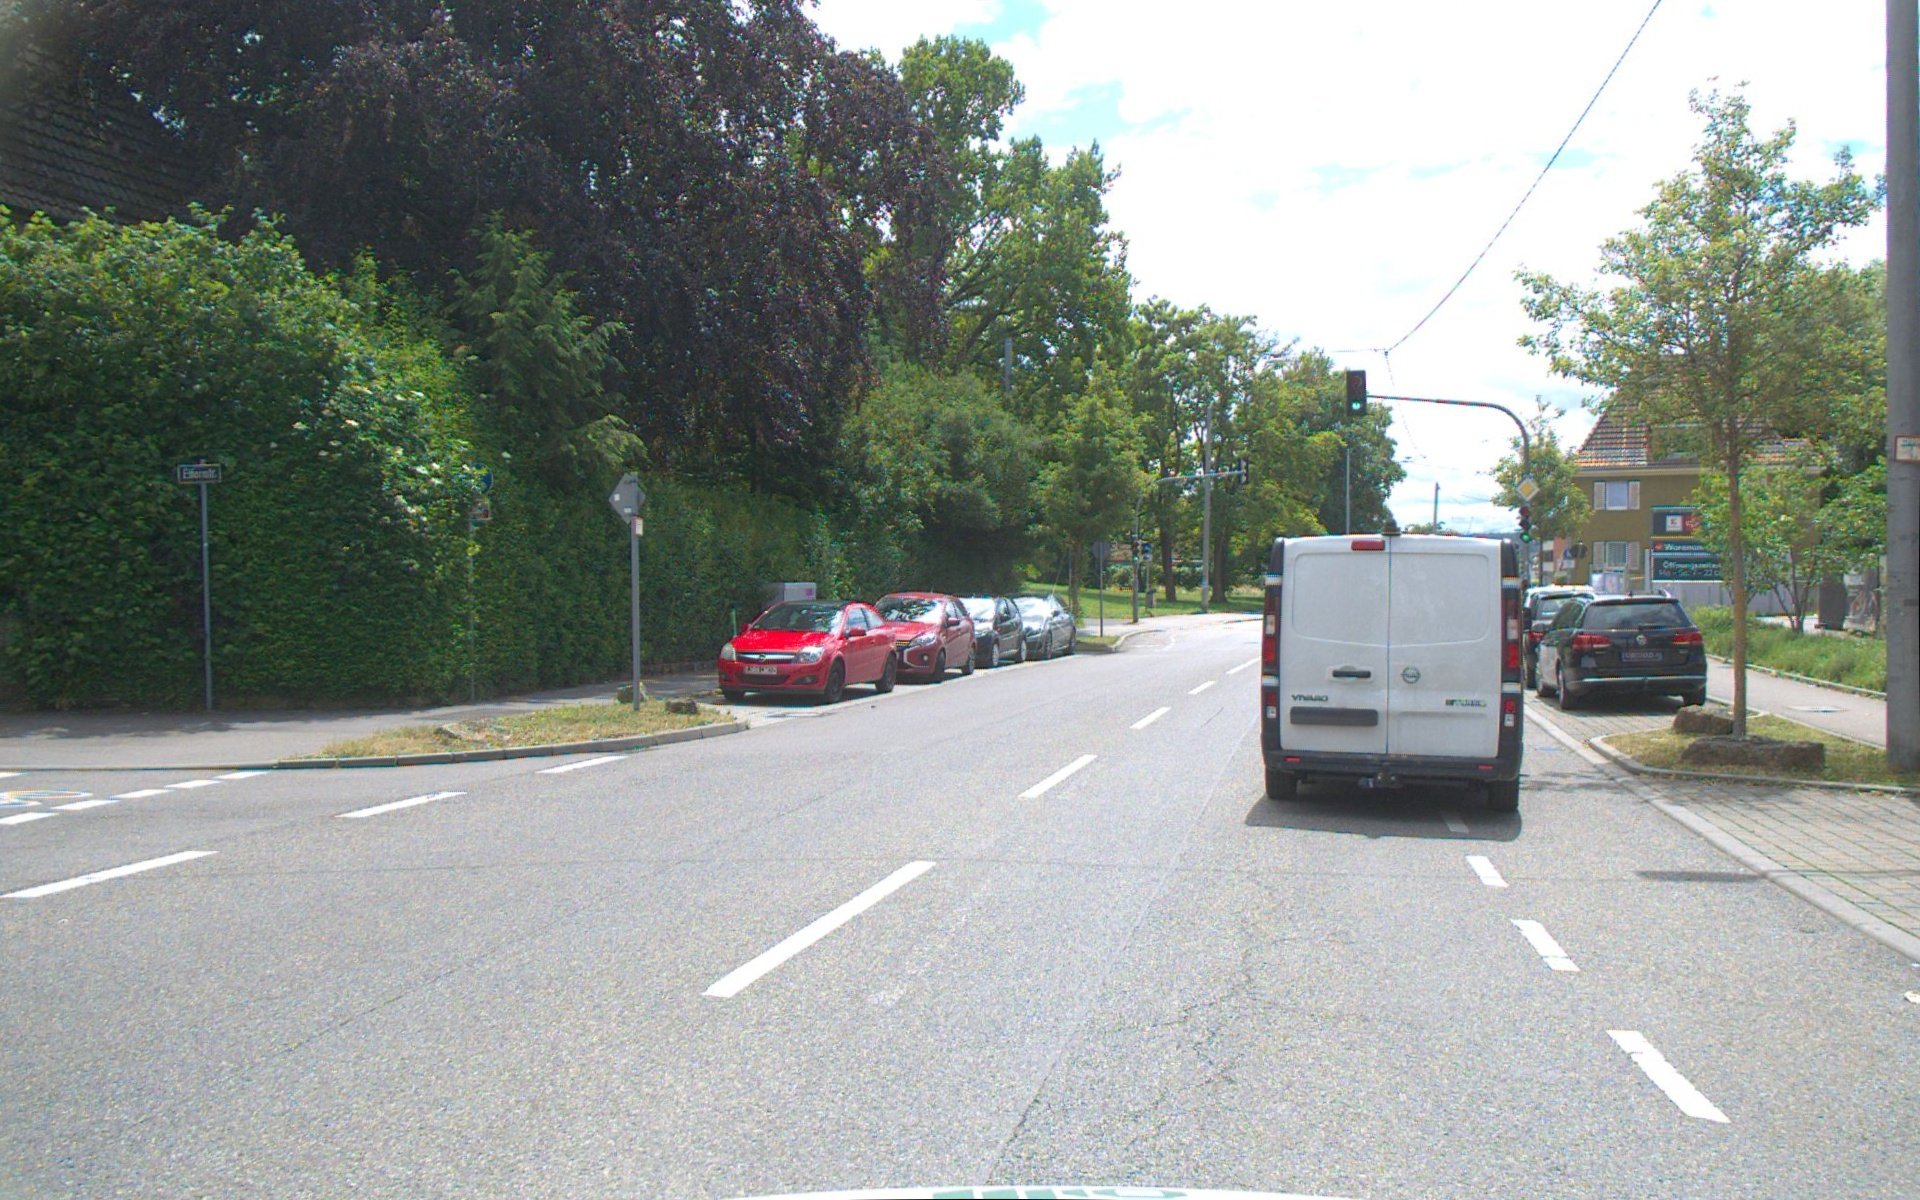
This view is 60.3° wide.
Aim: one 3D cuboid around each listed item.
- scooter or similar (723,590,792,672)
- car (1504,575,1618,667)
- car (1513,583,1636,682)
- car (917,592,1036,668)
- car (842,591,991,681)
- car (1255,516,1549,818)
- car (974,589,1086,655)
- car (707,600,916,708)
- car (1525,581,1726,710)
[{"bbox_3d":[-3.690,0.549,30.251,0.656,1.437,1.650,1,1,16],"label":"scooter or similar"},{"bbox_3d":[11.883,0.392,32.931,1.700,1.644,4.390,-3,-1,15],"label":"car"},{"bbox_3d":[10.157,0.500,27.569,1.535,1.519,4.003,-1,0,15],"label":"car"},{"bbox_3d":[0.404,0.575,34.575,1.561,1.476,3.598,1,0,16],"label":"car"},{"bbox_3d":[-0.708,0.593,29.826,1.614,1.476,4.108,1,0,14],"label":"car"},{"bbox_3d":[3.658,0.440,13.513,1.898,1.995,4.836,-1,0,17],"label":"car"},{"bbox_3d":[1.705,0.471,38.687,1.659,1.389,4.690,1,1,14],"label":"car"},{"bbox_3d":[-2.091,0.724,24.700,1.625,1.402,4.569,1,1,15],"label":"car"},{"bbox_3d":[8.970,0.556,22.679,1.727,1.503,4.940,-3,0,13],"label":"car"}]
